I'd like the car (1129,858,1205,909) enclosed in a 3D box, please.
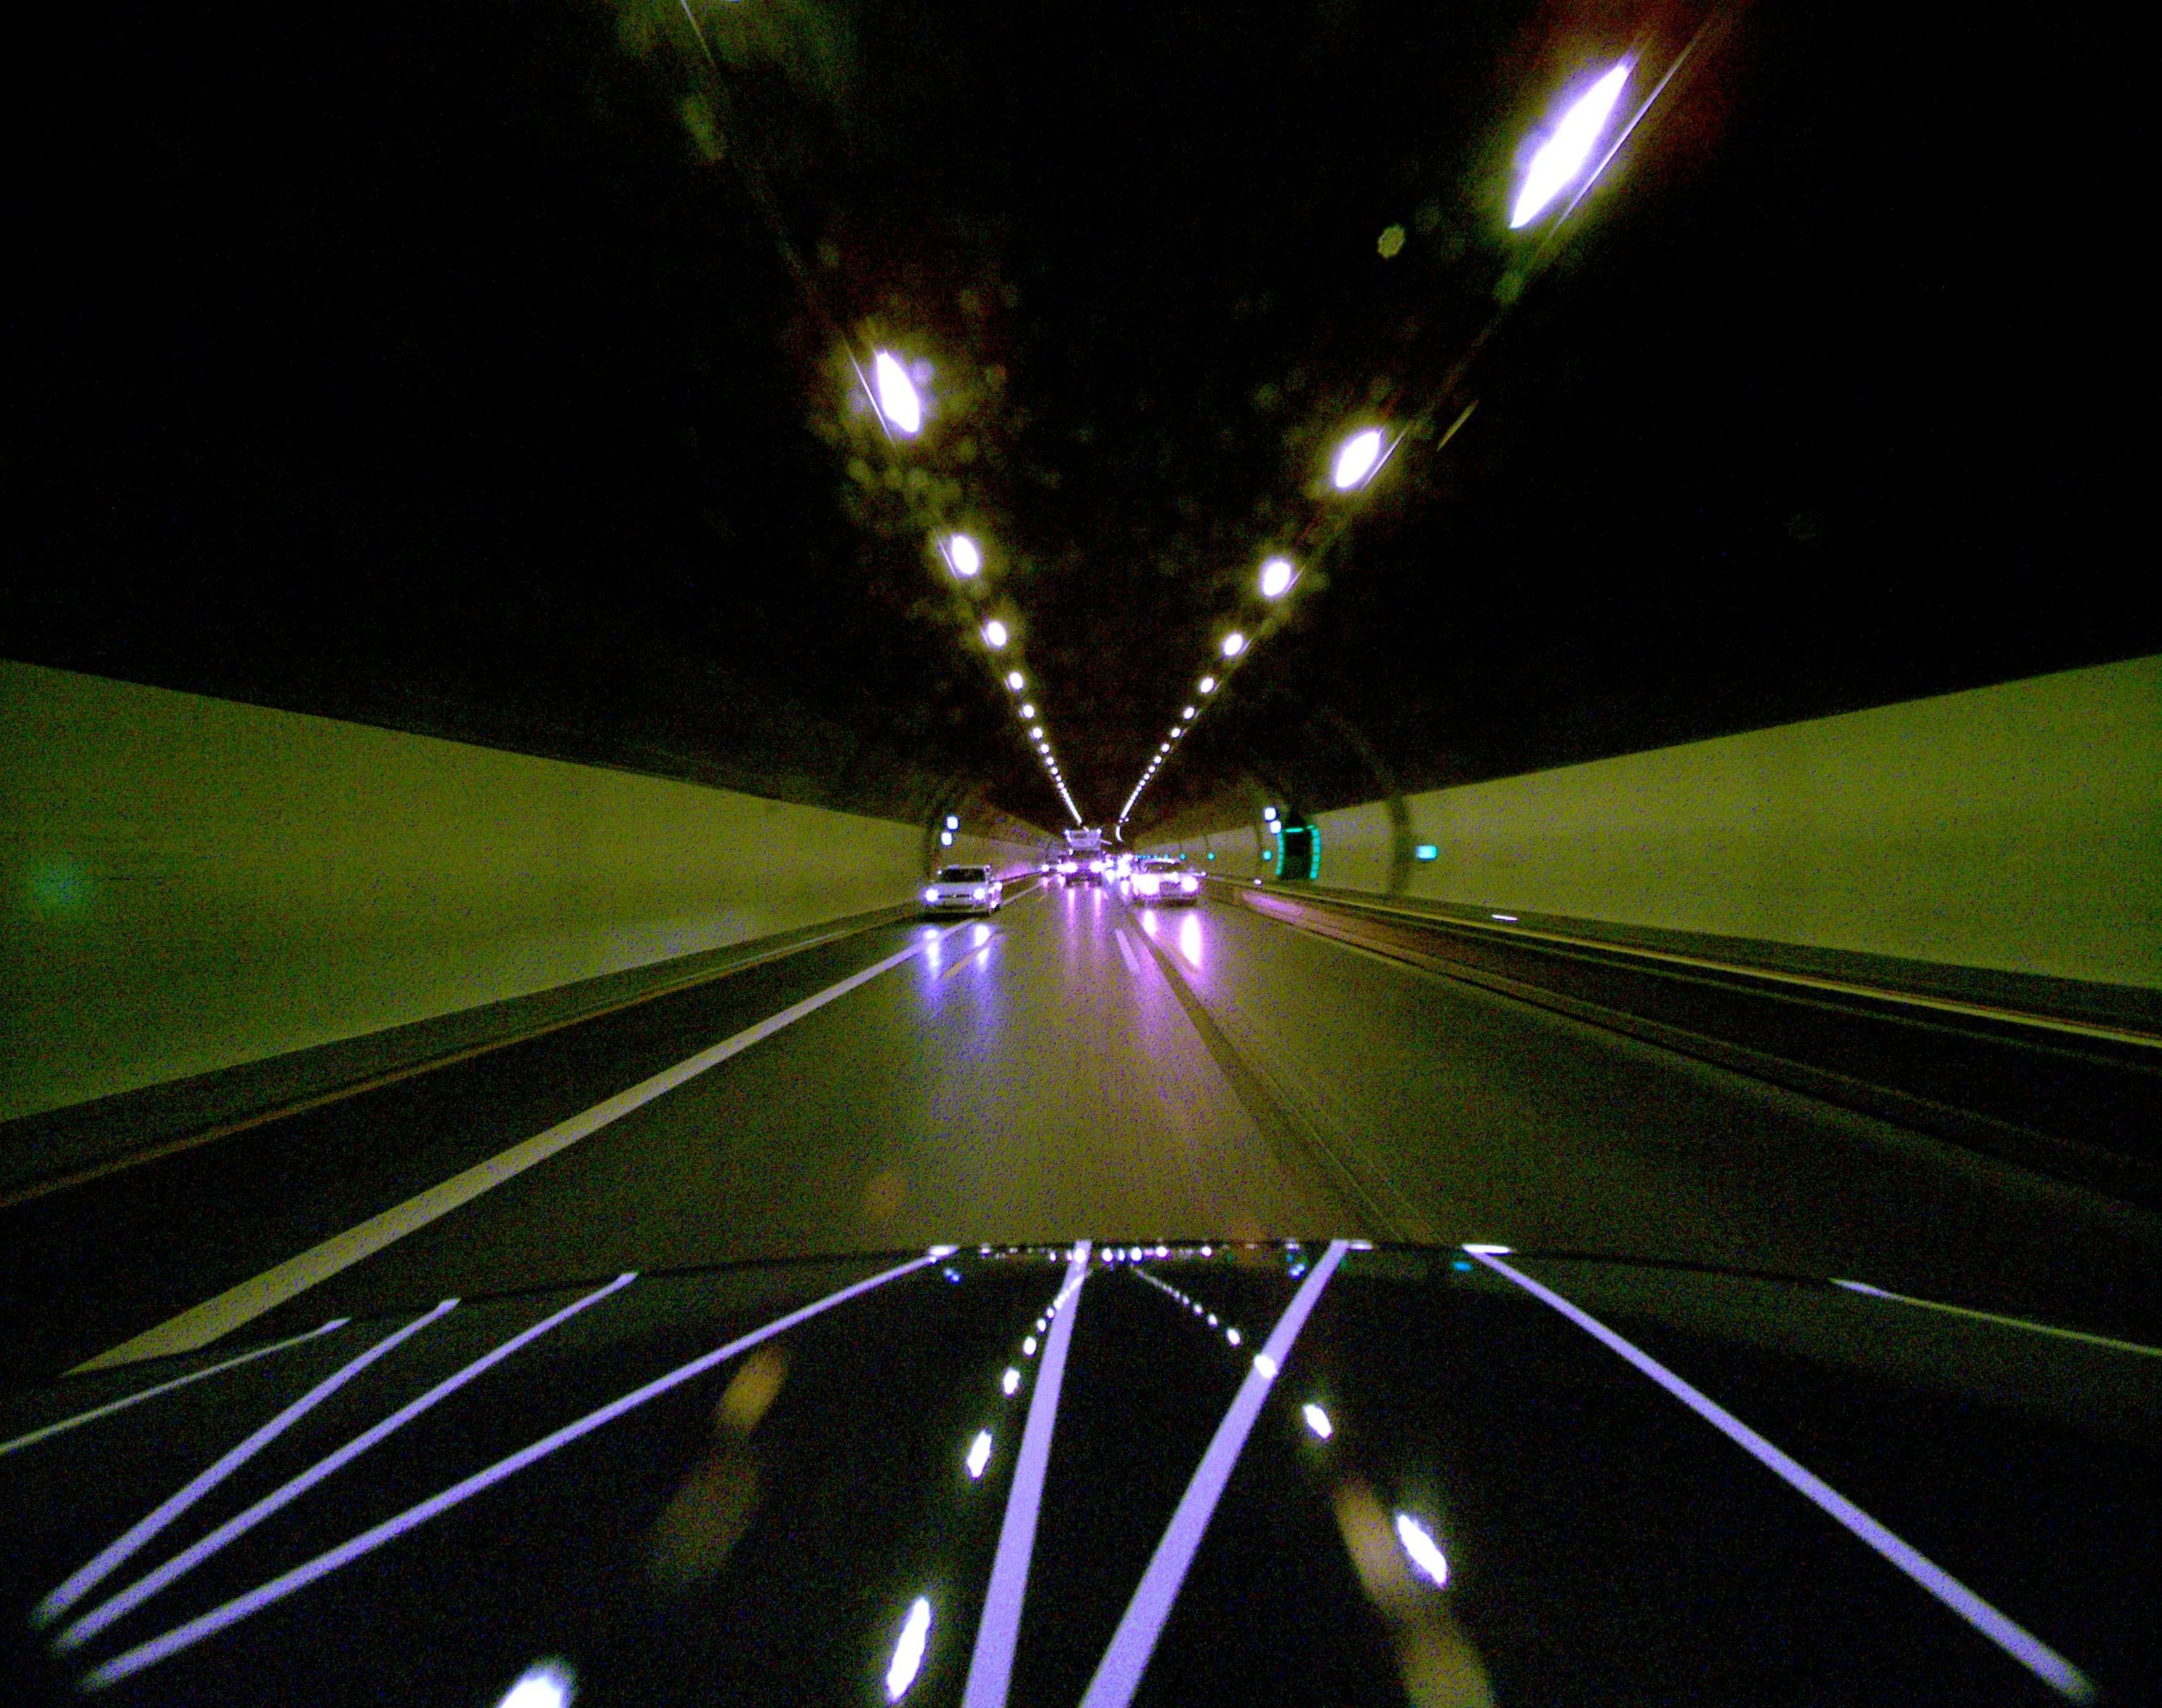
[{"bbox_3d":[2.727,0.889,25.209,1.908,1.476,4.943,-2,0,0],"label":"car"}]

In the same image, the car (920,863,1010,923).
[{"bbox_3d":[-3.265,1.057,22.162,1.801,1.452,4.035,-2,0,2],"label":"car"}]

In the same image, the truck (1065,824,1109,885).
[{"bbox_3d":[0.344,0.016,45.178,2.262,3.238,7.382,-3,0,1],"label":"truck"}]

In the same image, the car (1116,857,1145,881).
[{"bbox_3d":[3.234,0.970,50.423,1.657,1.395,3.656,-2,0,0],"label":"car"}]

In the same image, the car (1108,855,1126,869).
[{"bbox_3d":[4.450,0.999,94.789,1.958,1.527,4.757,-5,1,0],"label":"car"}]

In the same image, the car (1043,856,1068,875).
[{"bbox_3d":[-2.270,1.034,69.122,1.958,1.528,4.757,-4,1,0],"label":"car"}]

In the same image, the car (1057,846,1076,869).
[{"bbox_3d":[-1.801,0.419,97.567,2.124,2.629,6.229,-4,1,0],"label":"car"}]
